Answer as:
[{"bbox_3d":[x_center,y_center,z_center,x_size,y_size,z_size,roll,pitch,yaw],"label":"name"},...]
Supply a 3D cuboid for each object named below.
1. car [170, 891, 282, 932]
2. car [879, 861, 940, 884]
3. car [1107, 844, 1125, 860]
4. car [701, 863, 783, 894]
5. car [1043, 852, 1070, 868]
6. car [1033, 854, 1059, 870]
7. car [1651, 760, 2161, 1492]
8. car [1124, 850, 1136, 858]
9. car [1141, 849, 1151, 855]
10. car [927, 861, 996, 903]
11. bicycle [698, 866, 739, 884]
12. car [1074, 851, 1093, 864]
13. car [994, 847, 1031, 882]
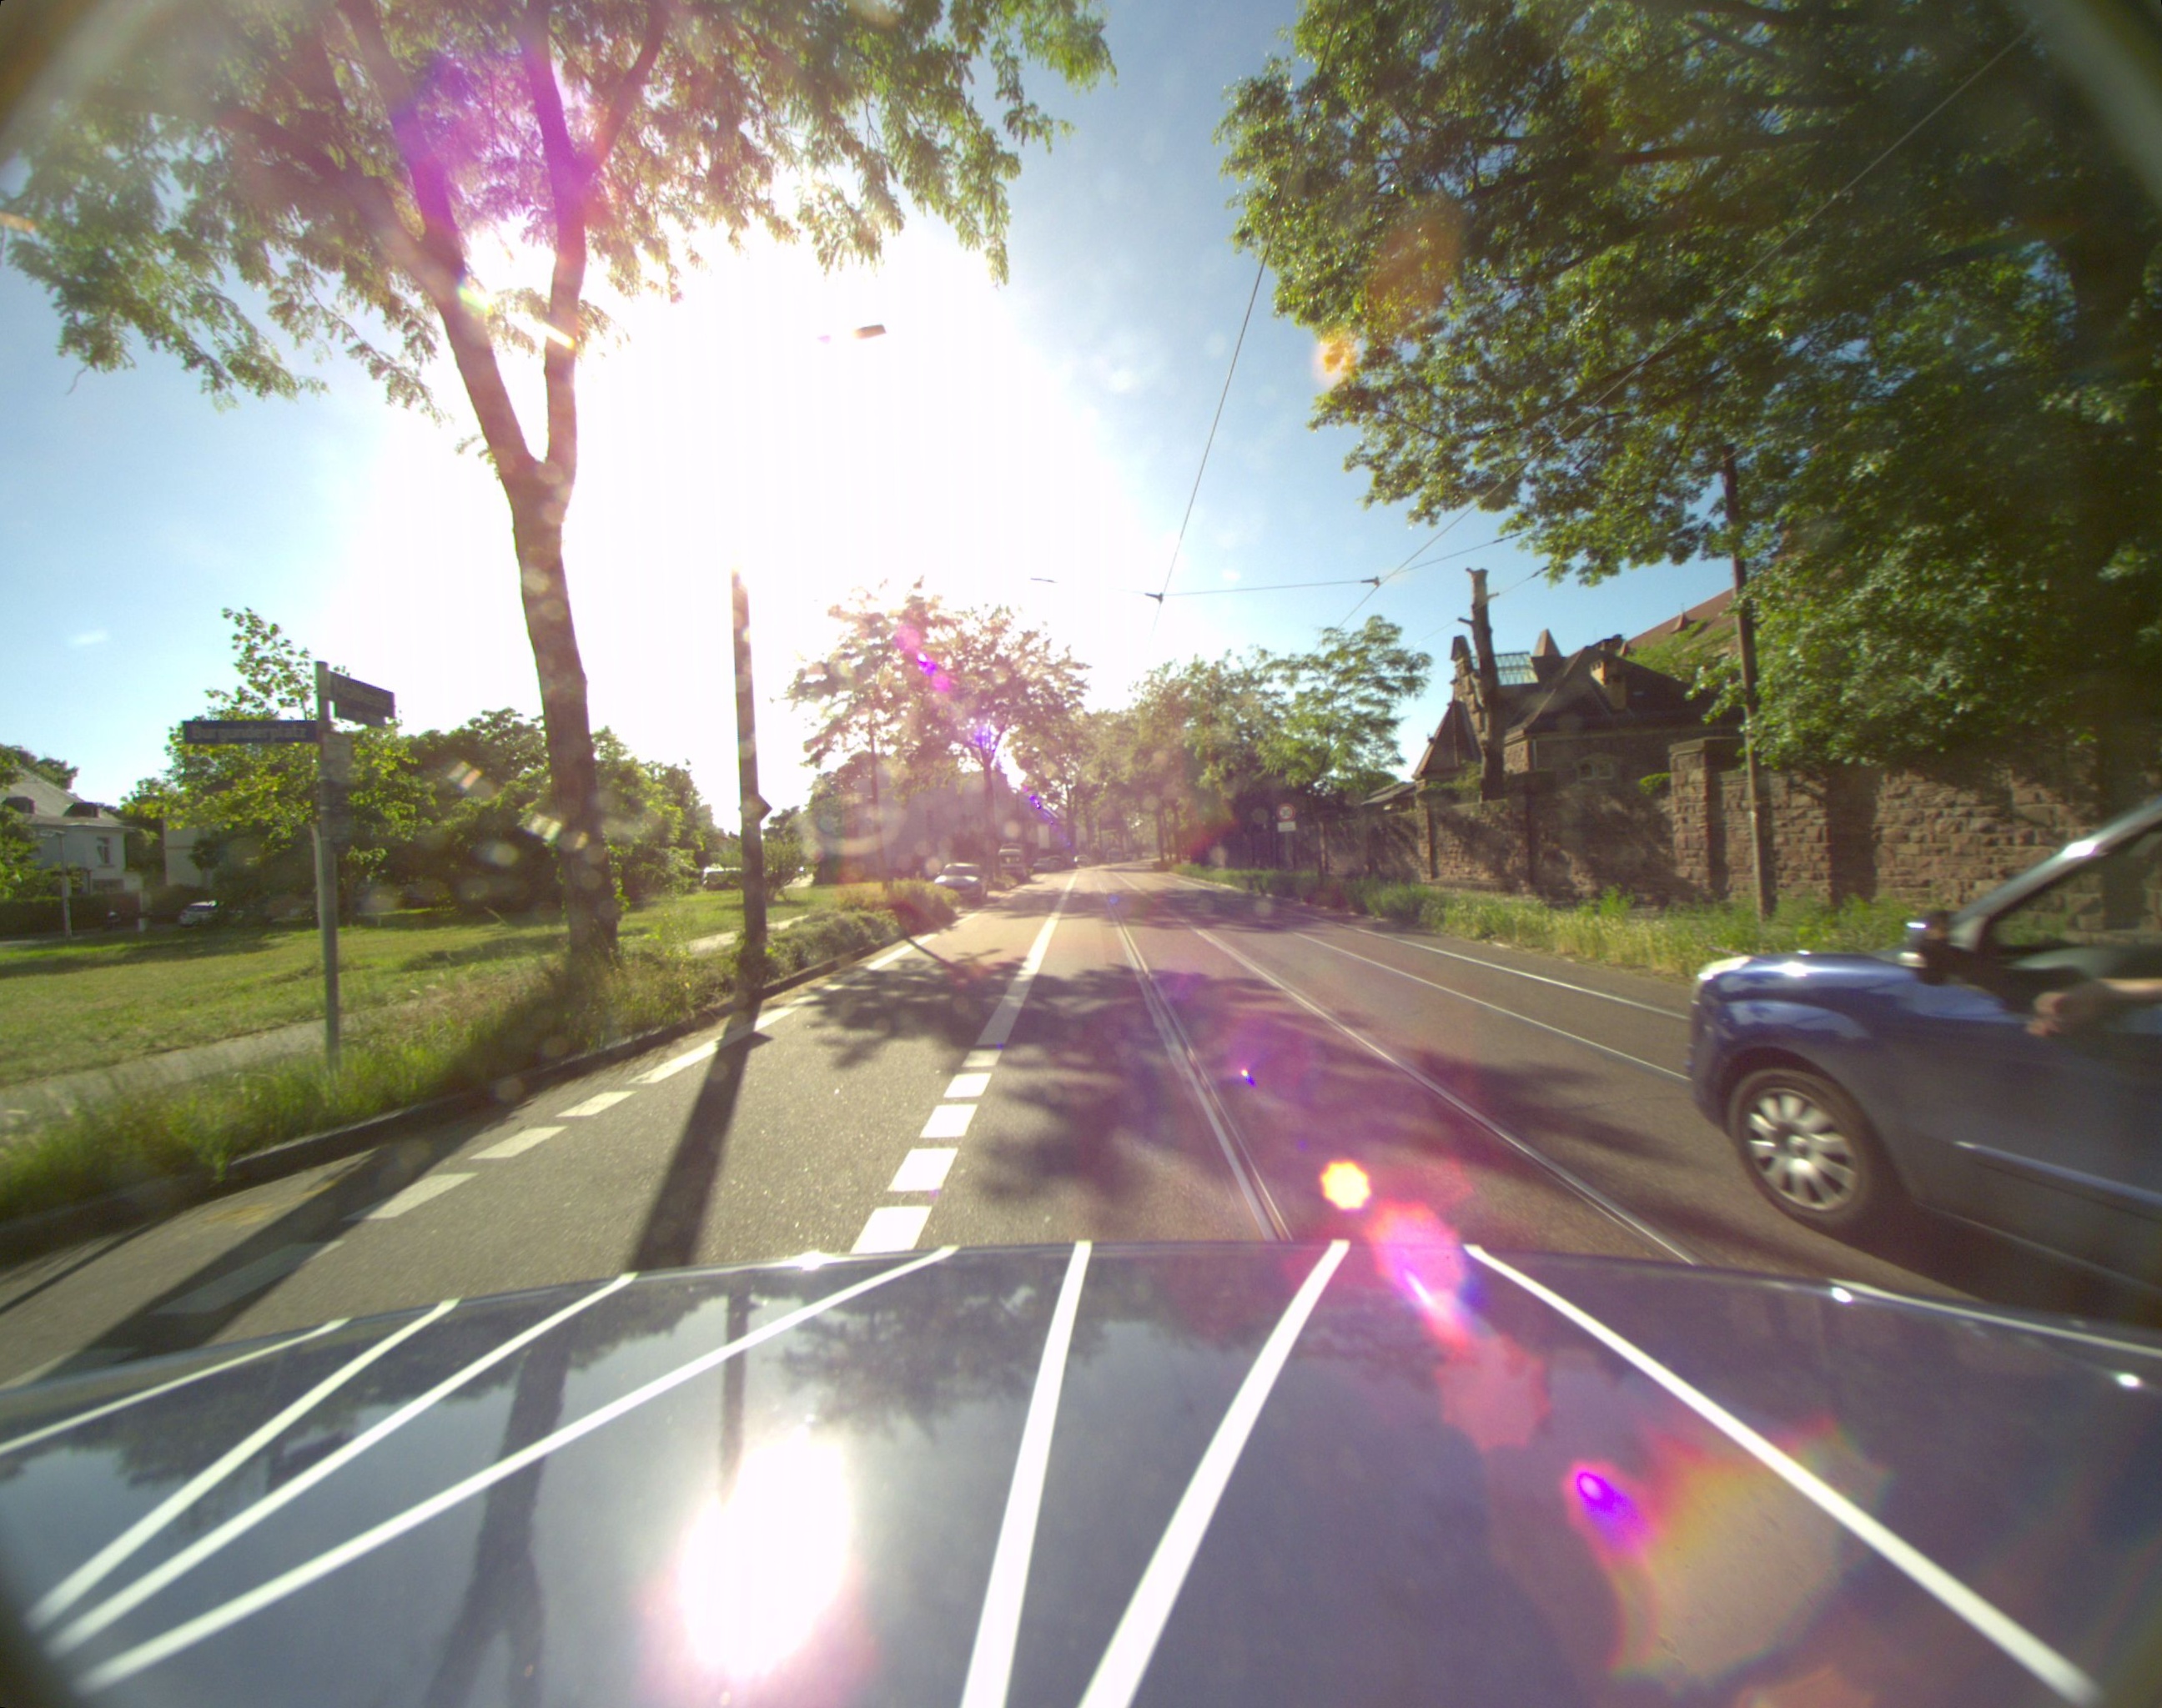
[{"bbox_3d":[-46.284,3.063,41.270,2.000,1.786,3.995,-3,1,-13],"label":"car"},{"bbox_3d":[-13.480,1.433,59.521,4.465,1.482,2.005,-3,4,-17],"label":"car"},{"bbox_3d":[6.165,-0.388,134.762,2.295,2.575,5.722,-3,1,10],"label":"car"},{"bbox_3d":[-24.763,1.749,55.713,5.216,1.874,2.097,-4,1,-17],"label":"car"},{"bbox_3d":[-2.738,0.619,85.744,1.997,1.607,4.604,-2,1,11],"label":"car"},{"bbox_3d":[-3.686,0.789,80.072,1.741,1.487,4.532,-3,1,10],"label":"car"},{"bbox_3d":[3.454,0.644,1.241,1.637,1.782,4.336,-2,0,-3],"label":"car"},{"bbox_3d":[10.064,-0.075,155.773,1.662,1.527,4.004,-2,0,14],"label":"car"},{"bbox_3d":[16.070,-0.456,188.758,1.997,1.474,4.003,-2,0,11],"label":"car"},{"bbox_3d":[-4.771,1.088,31.178,2.006,1.457,5.432,1,1,-1],"label":"car"},{"bbox_3d":[-27.277,1.590,57.241,2.666,1.224,0.798,-3,0,-23],"label":"bicycle"},{"bbox_3d":[0.421,0.440,102.927,1.879,1.509,4.651,-3,1,8],"label":"car"},{"bbox_3d":[-4.409,0.639,49.493,1.999,2.083,4.715,-2,0,-1],"label":"car"}]
